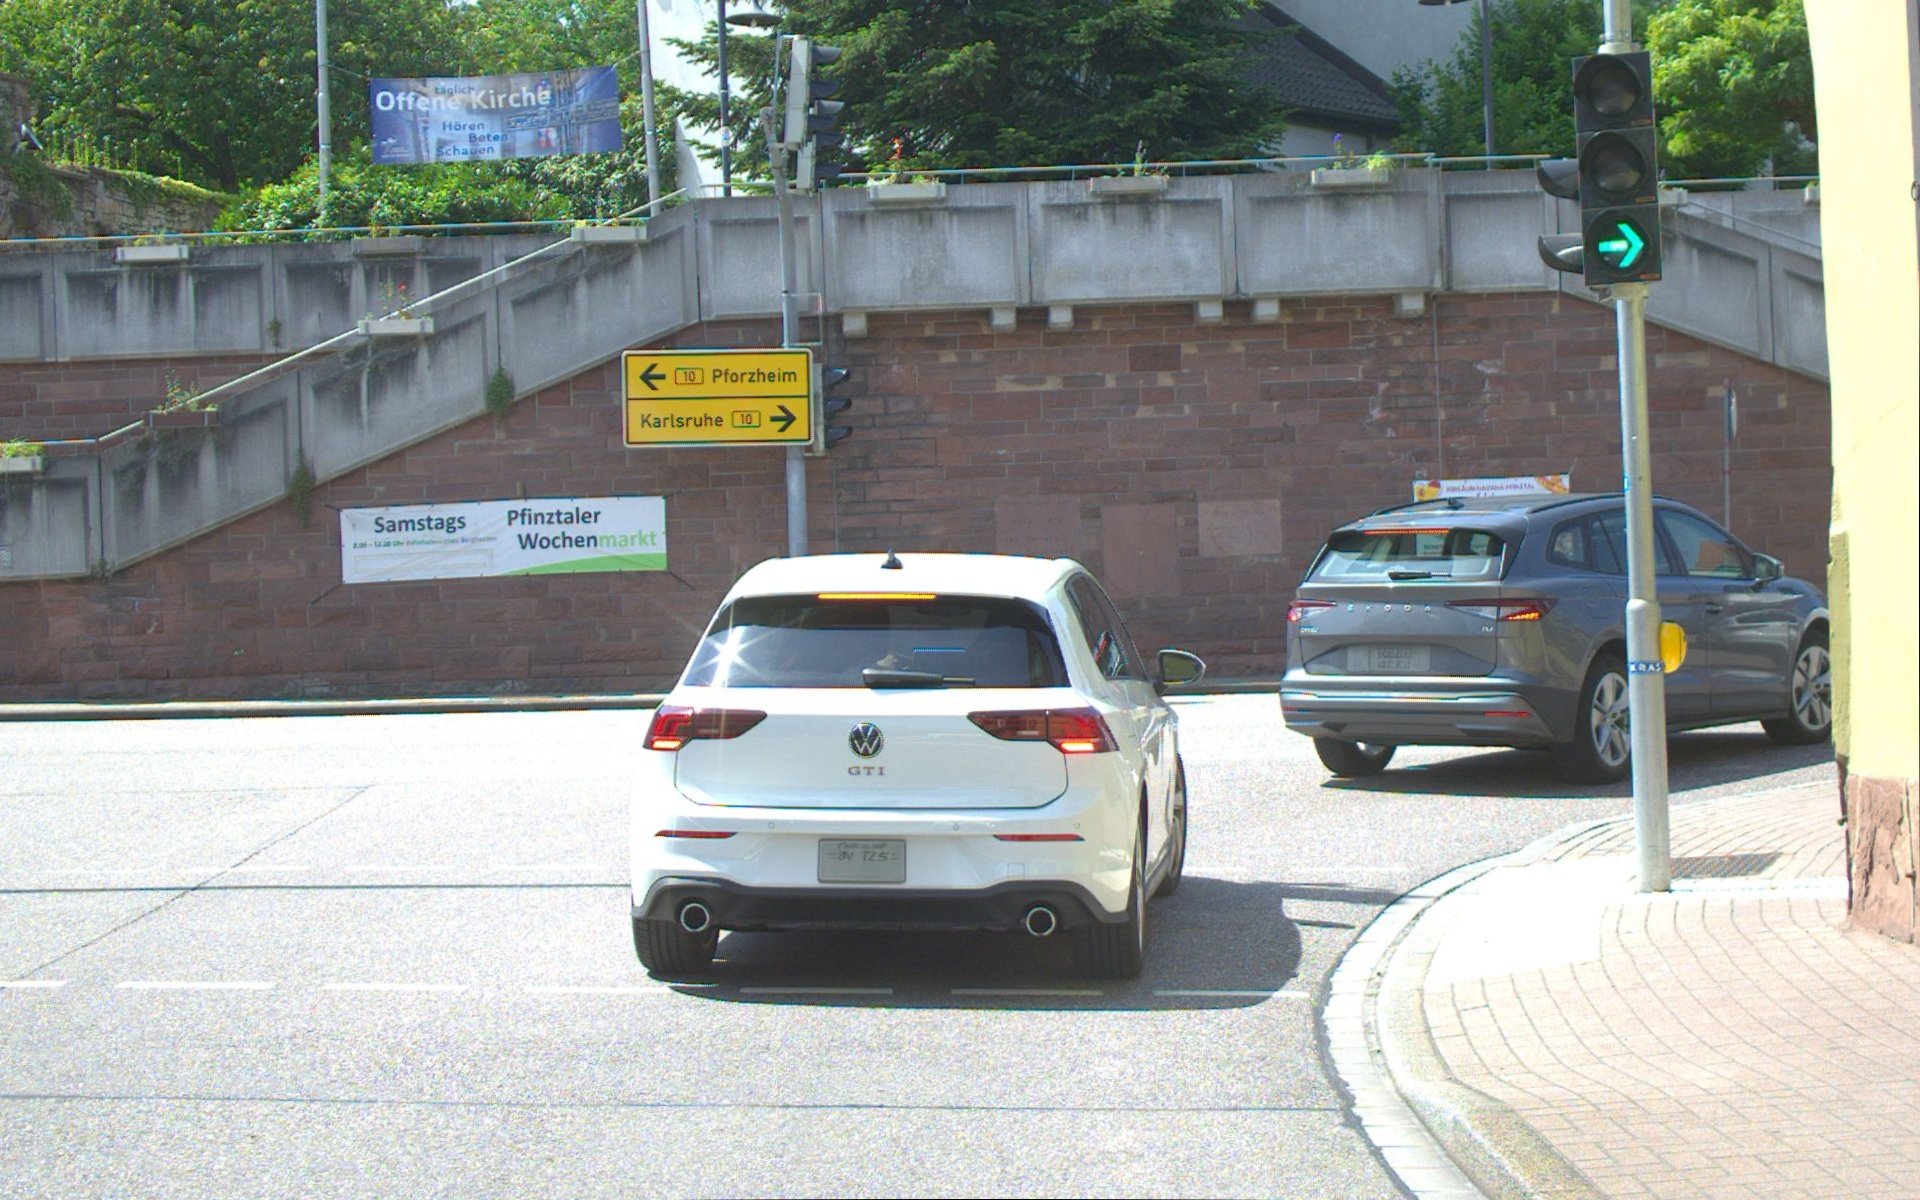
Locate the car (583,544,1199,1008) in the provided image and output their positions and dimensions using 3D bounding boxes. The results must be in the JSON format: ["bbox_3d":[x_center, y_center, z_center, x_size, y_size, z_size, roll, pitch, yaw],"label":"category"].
[{"bbox_3d":[-0.098,0.548,12.947,1.783,1.453,3.862,-2,0,7],"label":"car"}]

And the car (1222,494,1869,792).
[{"bbox_3d":[3.599,0.208,20.537,1.953,1.577,4.316,-1,0,38],"label":"car"}]
